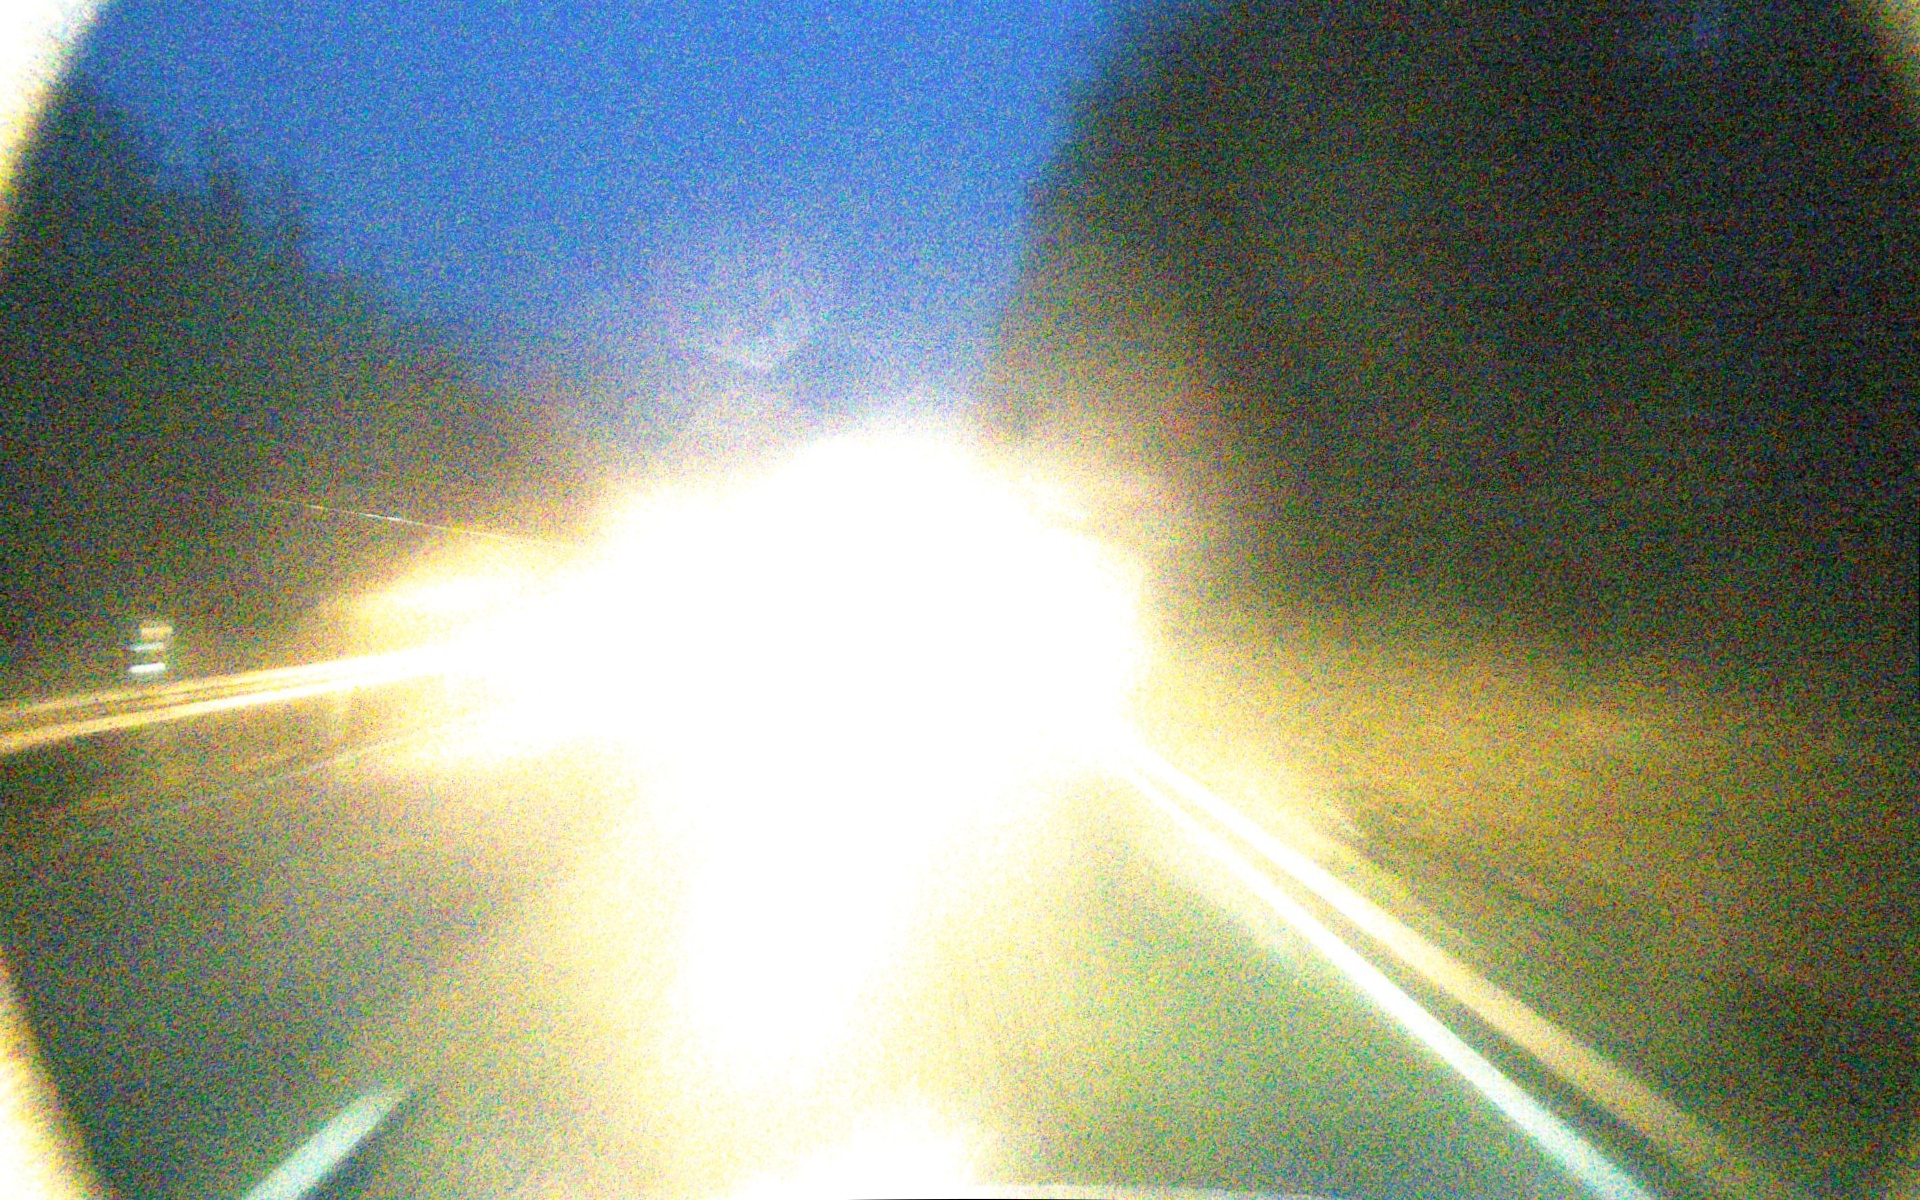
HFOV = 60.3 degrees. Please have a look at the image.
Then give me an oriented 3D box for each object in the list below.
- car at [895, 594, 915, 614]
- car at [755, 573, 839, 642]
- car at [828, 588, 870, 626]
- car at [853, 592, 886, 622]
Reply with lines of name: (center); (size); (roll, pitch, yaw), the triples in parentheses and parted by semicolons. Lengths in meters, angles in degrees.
car: (-4.806, 0.341, 145.513); (1.681, 1.544, 3.877); (3, 1, -1)
car: (-4.161, 0.163, 42.807); (1.772, 1.628, 4.630); (2, 1, -1)
car: (-4.660, 0.258, 69.753); (1.612, 1.450, 3.658); (3, 1, -2)
car: (-4.791, 0.359, 87.707); (1.612, 1.450, 4.121); (3, 0, -3)
